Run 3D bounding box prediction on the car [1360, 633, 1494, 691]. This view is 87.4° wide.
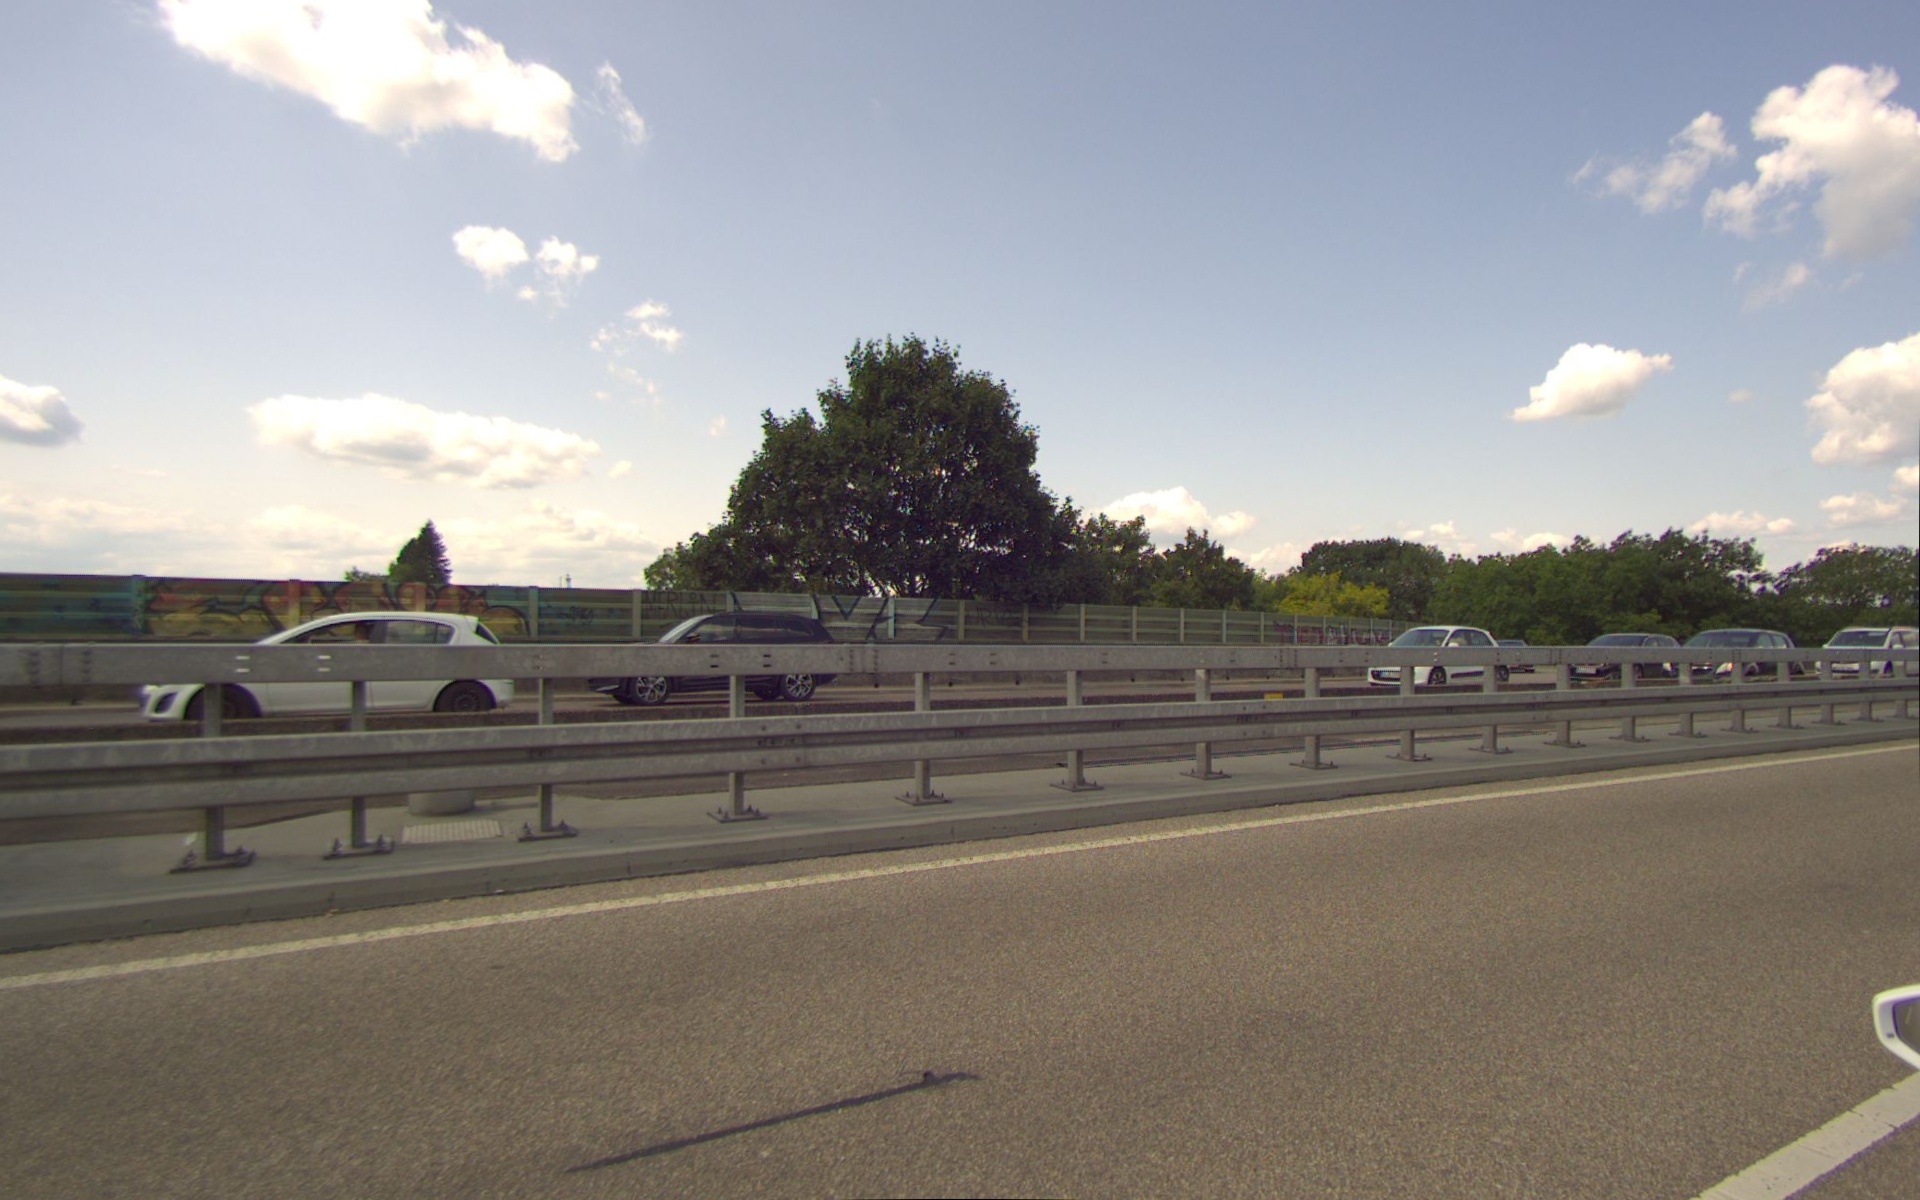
[{"bbox_3d":[14.314,1.855,30.713,4.242,1.595,1.910,2,-1,-36],"label":"car"}]

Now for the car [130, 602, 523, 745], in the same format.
[{"bbox_3d":[-7.774,0.867,12.713,3.913,1.529,1.774,2,0,-30],"label":"car"}]

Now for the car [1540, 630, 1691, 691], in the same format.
[{"bbox_3d":[18.338,1.665,28.078,4.197,1.594,1.914,2,-2,-31],"label":"car"}]

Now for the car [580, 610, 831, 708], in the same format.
[{"bbox_3d":[-4.697,1.085,18.741,4.232,1.640,1.707,2,-3,-30],"label":"car"}]

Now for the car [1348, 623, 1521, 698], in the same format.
[{"bbox_3d":[11.355,1.414,24.017,3.843,1.595,1.914,2,0,-31],"label":"car"}]

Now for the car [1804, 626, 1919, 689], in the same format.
[{"bbox_3d":[31.984,1.958,35.391,5.134,1.951,1.949,1,1,-32],"label":"car"}]

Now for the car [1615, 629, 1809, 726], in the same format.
[{"bbox_3d":[16.694,1.661,22.268,4.190,1.881,1.983,2,0,-31],"label":"car"}]

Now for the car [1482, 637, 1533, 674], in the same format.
[{"bbox_3d":[24.819,2.537,45.623,1.894,1.594,4.279,-1,-4,27],"label":"car"}]
